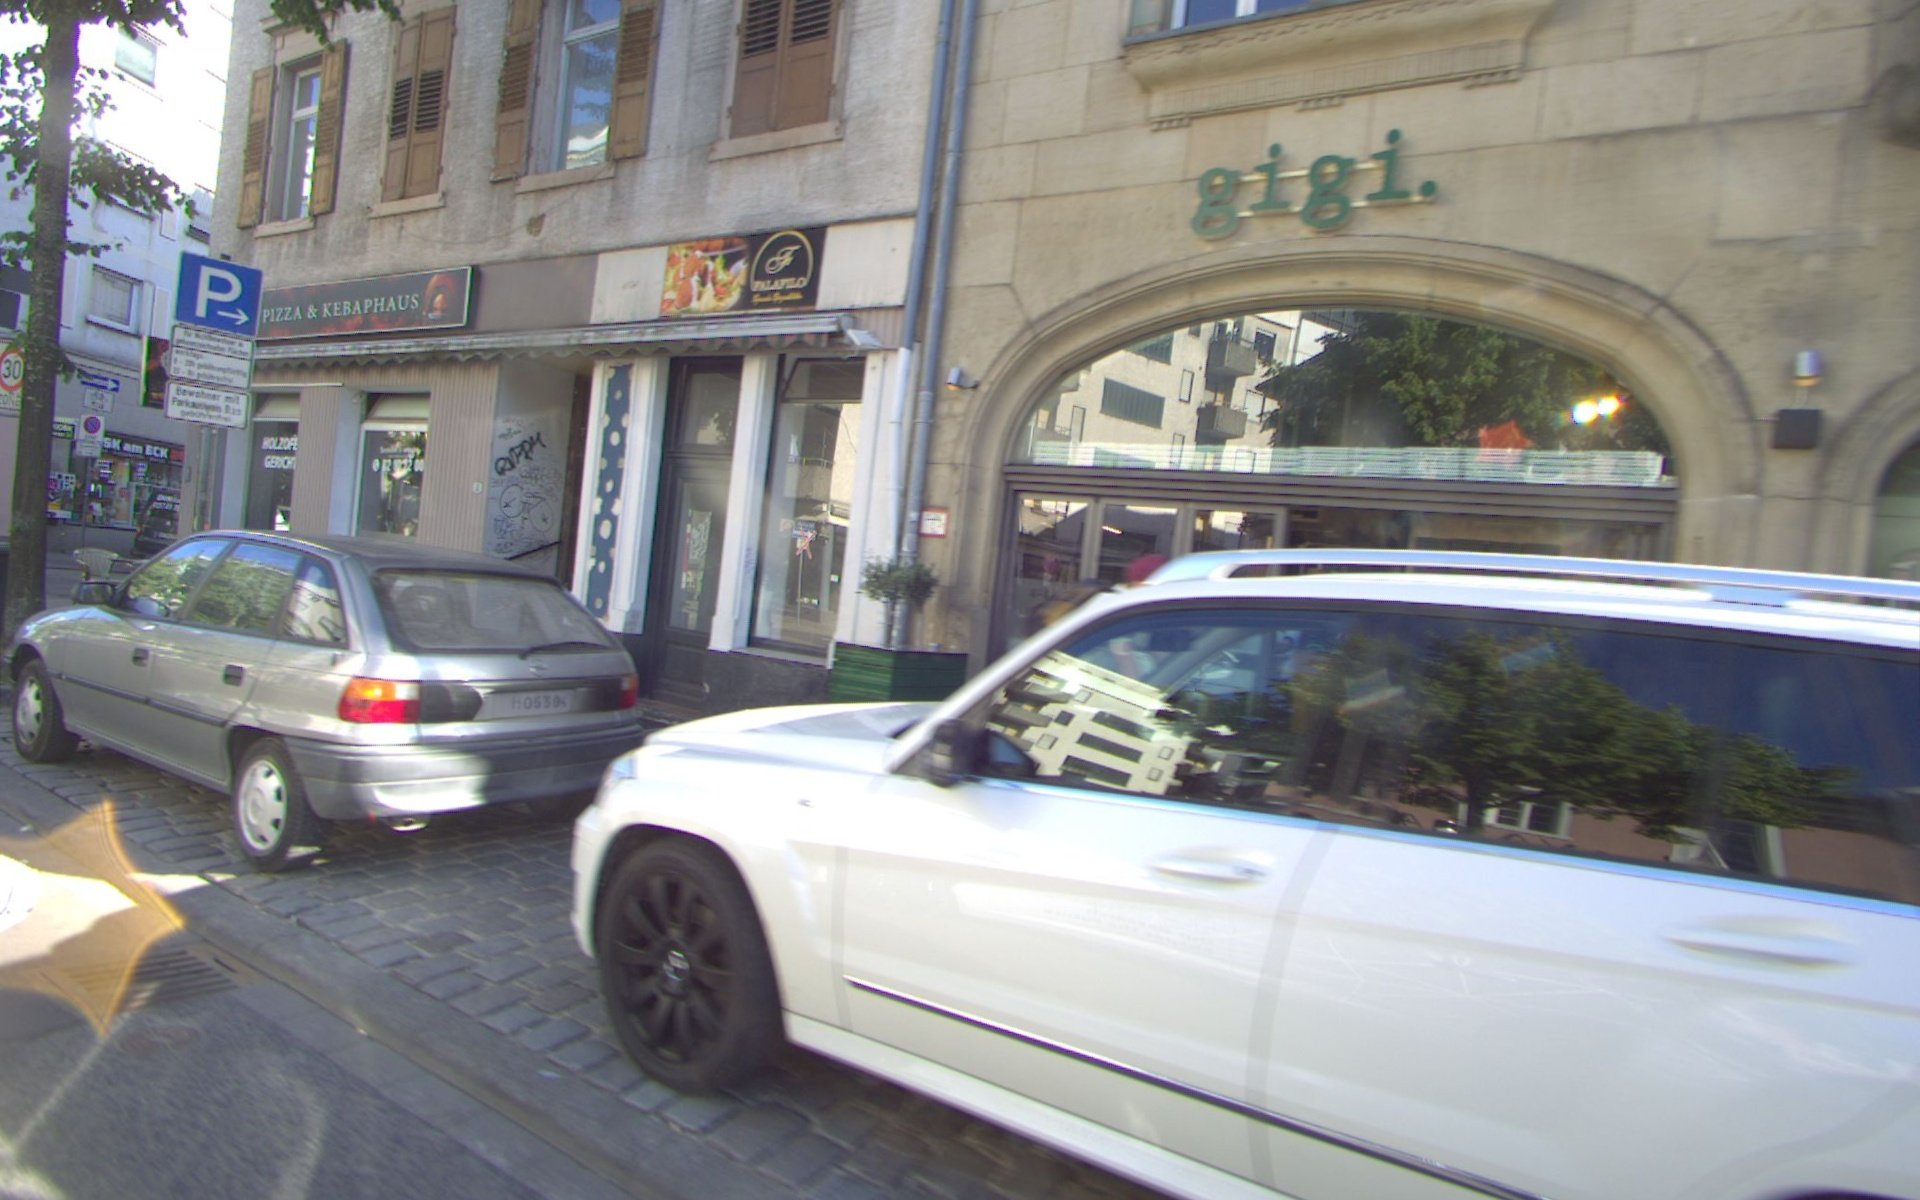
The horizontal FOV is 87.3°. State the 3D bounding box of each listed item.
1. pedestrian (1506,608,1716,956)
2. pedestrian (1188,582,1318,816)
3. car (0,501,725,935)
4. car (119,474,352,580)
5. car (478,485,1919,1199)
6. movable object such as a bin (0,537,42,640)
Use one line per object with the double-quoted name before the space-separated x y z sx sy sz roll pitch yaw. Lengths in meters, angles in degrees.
"pedestrian" 3.272 0.865 5.113 0.687 1.560 0.611 7 2 31
"pedestrian" 2.181 0.706 7.463 0.602 1.586 0.697 7 2 30
"car" -3.550 0.347 5.555 4.228 1.410 1.822 7 3 30
"car" -17.733 -1.692 24.970 1.962 2.039 4.697 7 0 5
"car" 0.887 0.733 2.805 4.524 1.702 1.822 7 3 32
"movable object such as a bin" -9.001 -0.124 9.289 0.617 0.907 0.563 7 1 29
